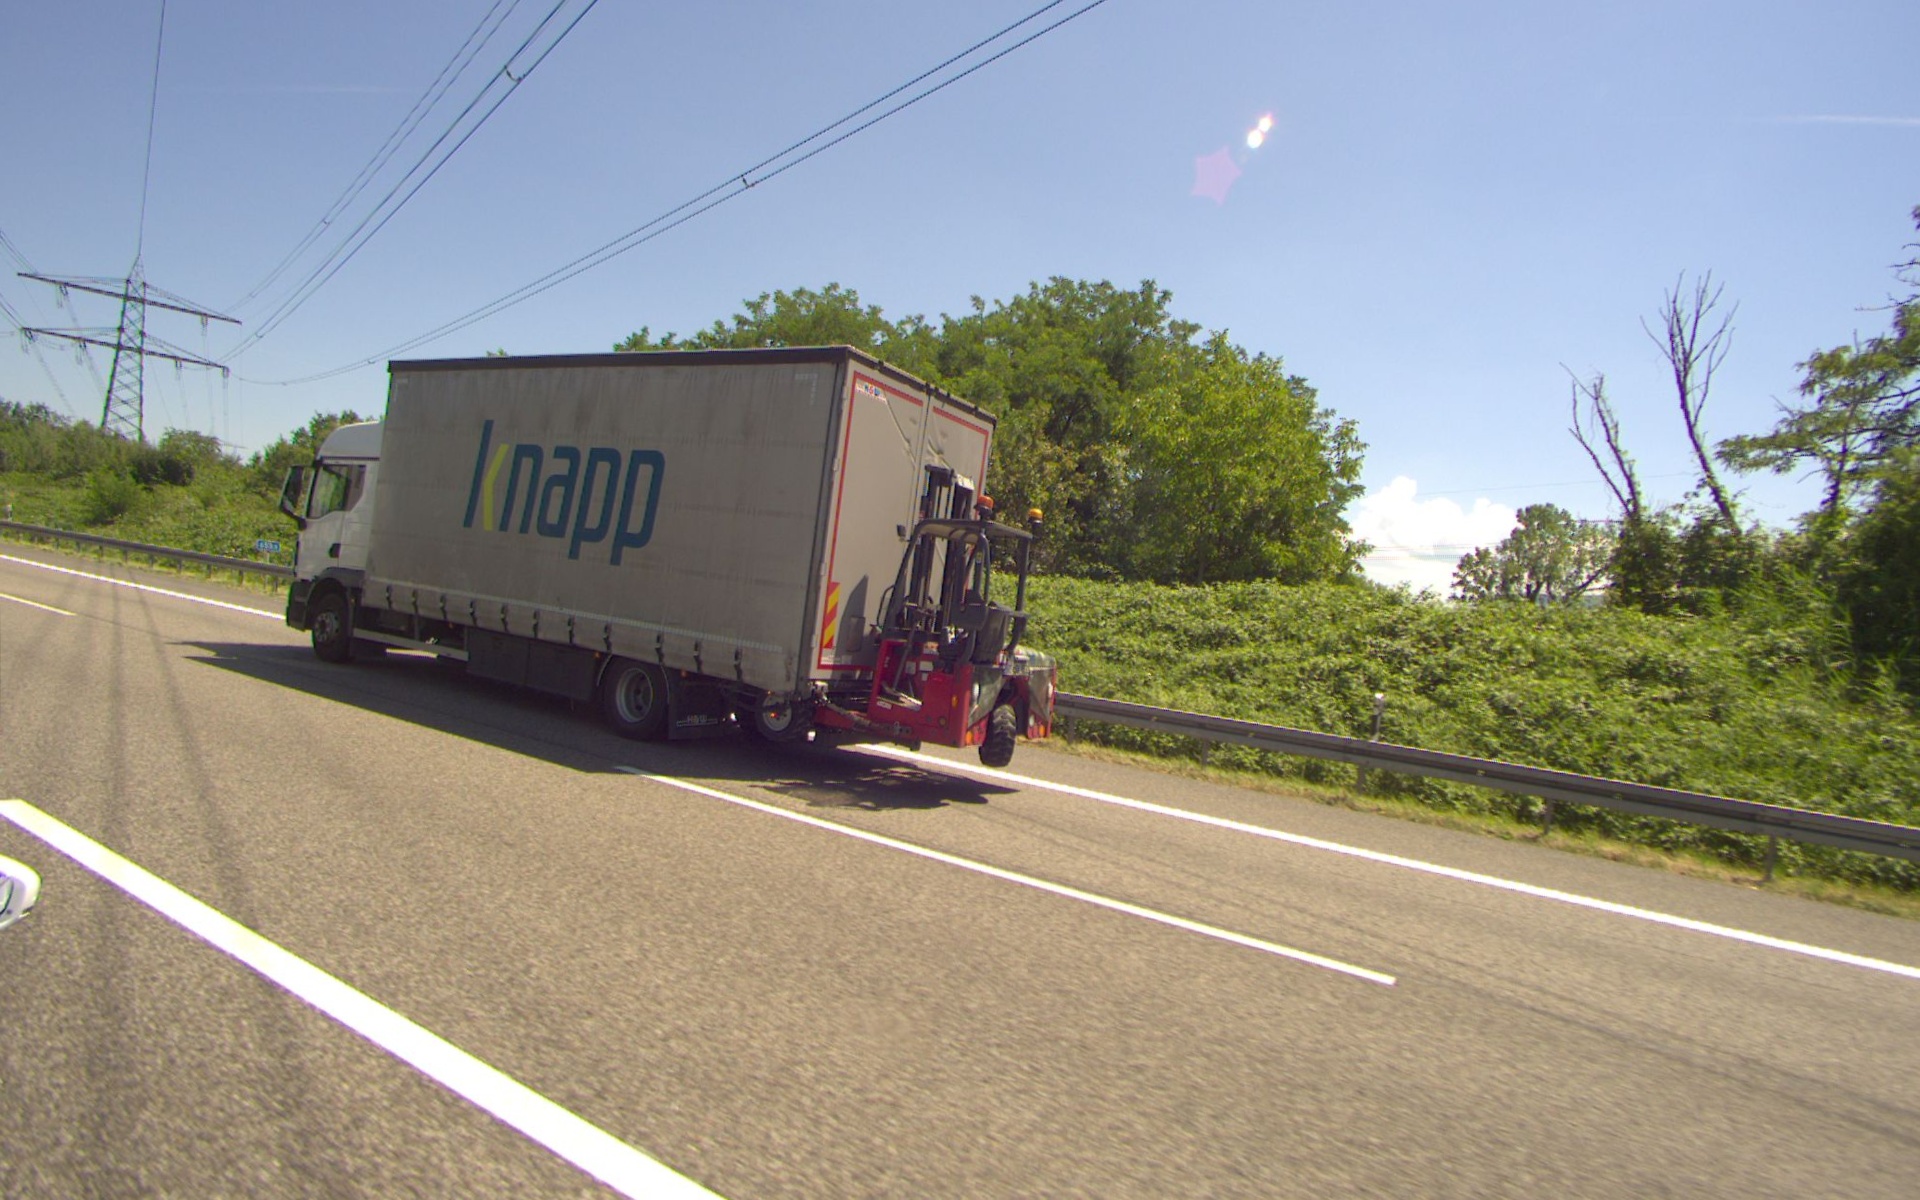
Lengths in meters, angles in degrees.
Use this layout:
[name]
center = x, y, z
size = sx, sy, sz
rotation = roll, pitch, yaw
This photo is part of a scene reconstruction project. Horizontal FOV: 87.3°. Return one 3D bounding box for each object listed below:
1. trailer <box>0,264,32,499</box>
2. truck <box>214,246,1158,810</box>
[trailer]
center = -20.242, -3.220, 17.045
size = 12.055, 4.941, 3.093
rotation = 6, -2, 32
[truck]
center = -3.932, -0.908, 12.085
size = 11.456, 4.293, 3.579
rotation = 6, -2, 31
